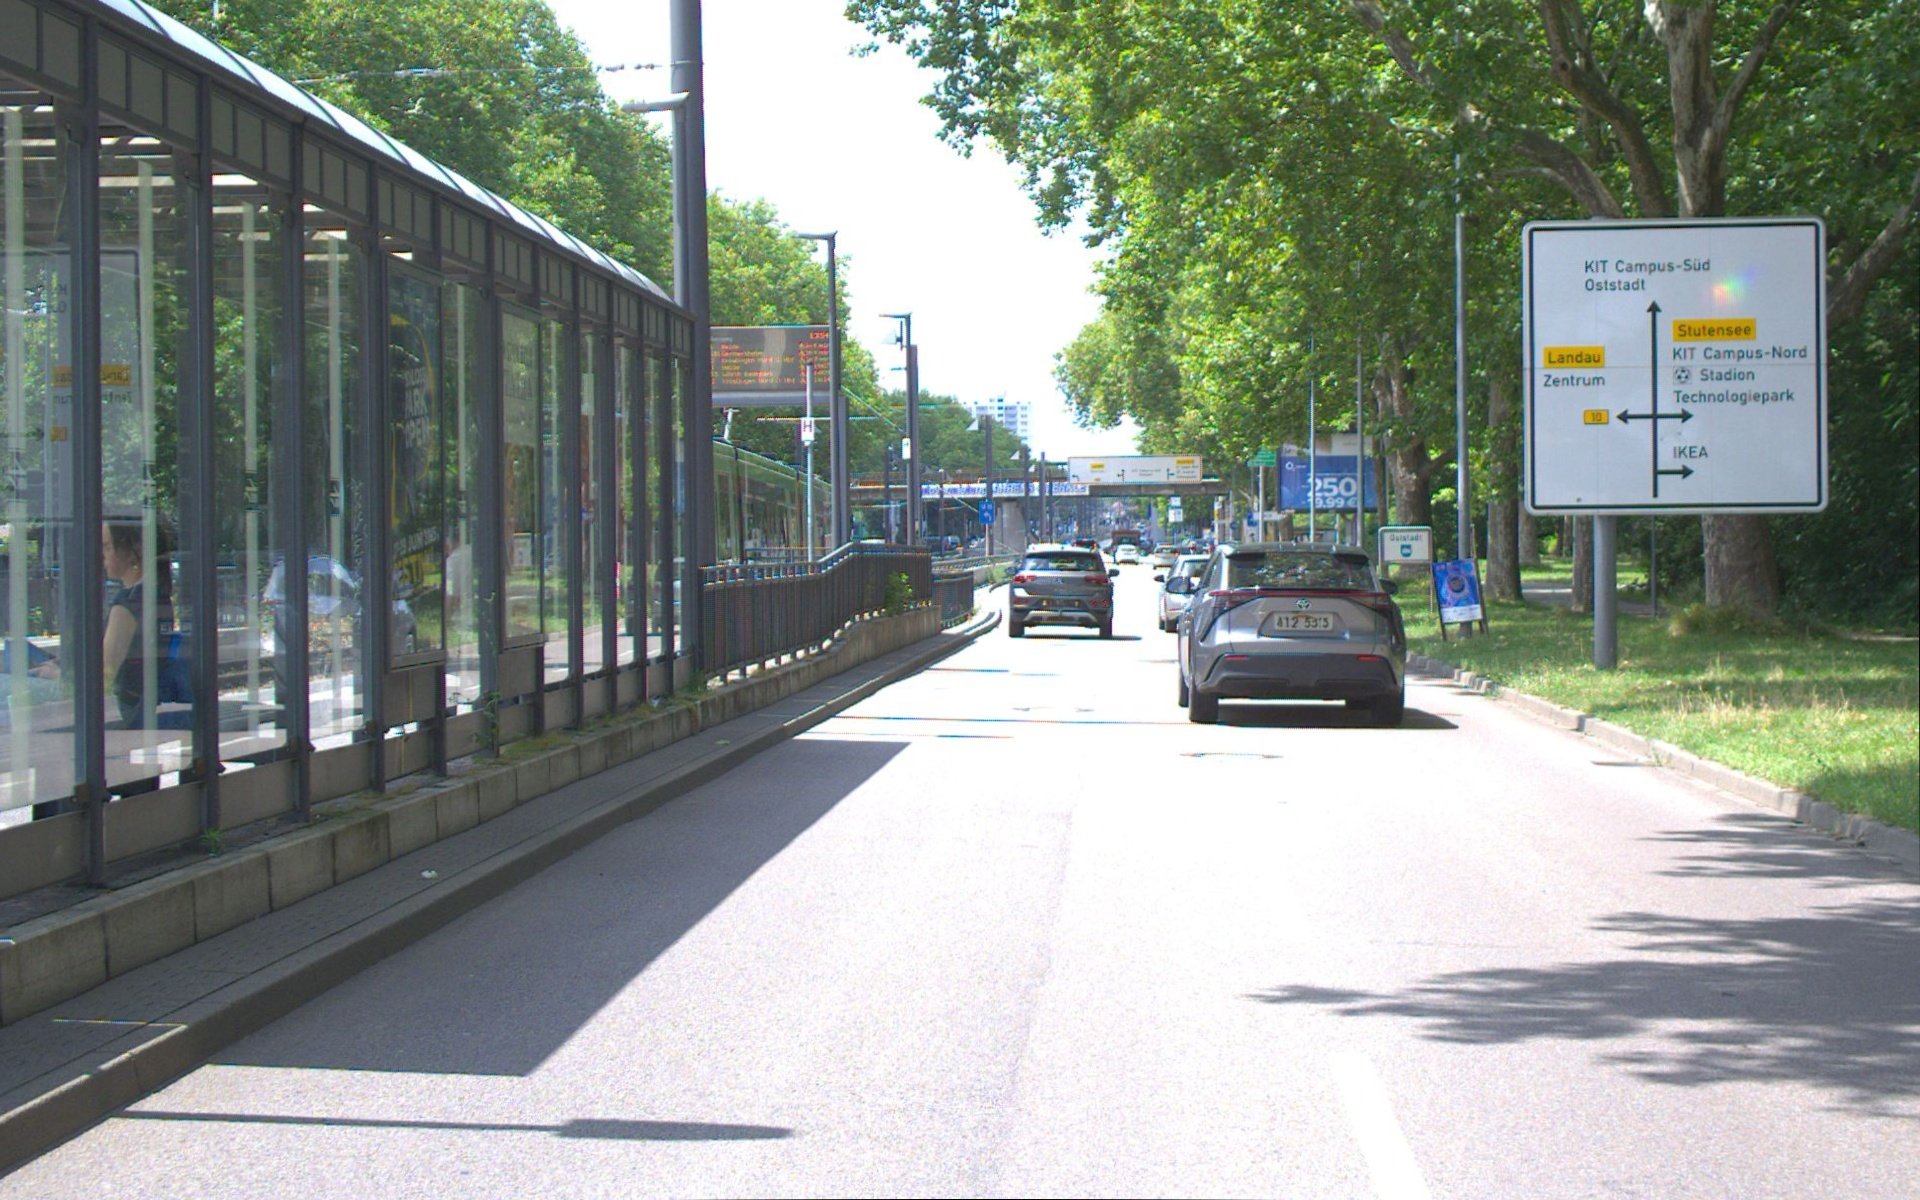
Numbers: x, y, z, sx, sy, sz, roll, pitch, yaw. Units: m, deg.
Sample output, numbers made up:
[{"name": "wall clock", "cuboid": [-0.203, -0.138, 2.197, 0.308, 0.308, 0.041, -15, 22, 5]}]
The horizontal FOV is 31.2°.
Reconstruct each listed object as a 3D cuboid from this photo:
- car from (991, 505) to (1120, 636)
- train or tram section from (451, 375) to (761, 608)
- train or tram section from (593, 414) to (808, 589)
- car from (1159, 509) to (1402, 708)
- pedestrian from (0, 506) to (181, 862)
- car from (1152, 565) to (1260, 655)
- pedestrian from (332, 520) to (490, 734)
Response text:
[{"name": "car", "cuboid": [1.689, -0.549, 59.247, 1.994, 1.982, 4.363, 2, 3, 4]}, {"name": "train or tram section", "cuboid": [-5.252, -1.616, 54.055, 3.037, 3.175, 14.101, 0, 1, 1]}, {"name": "train or tram section", "cuboid": [-4.927, -1.877, 67.226, 3.037, 3.175, 9.447, 0, 1, 3]}, {"name": "car", "cuboid": [2.830, 0.038, 31.273, 1.898, 1.669, 4.519, 0, 1, 2]}, {"name": "pedestrian", "cuboid": [-3.139, 0.274, 11.892, 0.693, 1.186, 0.642, 1, 1, 4]}, {"name": "car", "cuboid": [4.592, 0.156, 64.741, 1.832, 1.624, 4.296, 0, 1, 2]}, {"name": "pedestrian", "cuboid": [-3.140, 0.146, 19.726, 0.786, 1.205, 0.699, 0, 1, 0]}]
